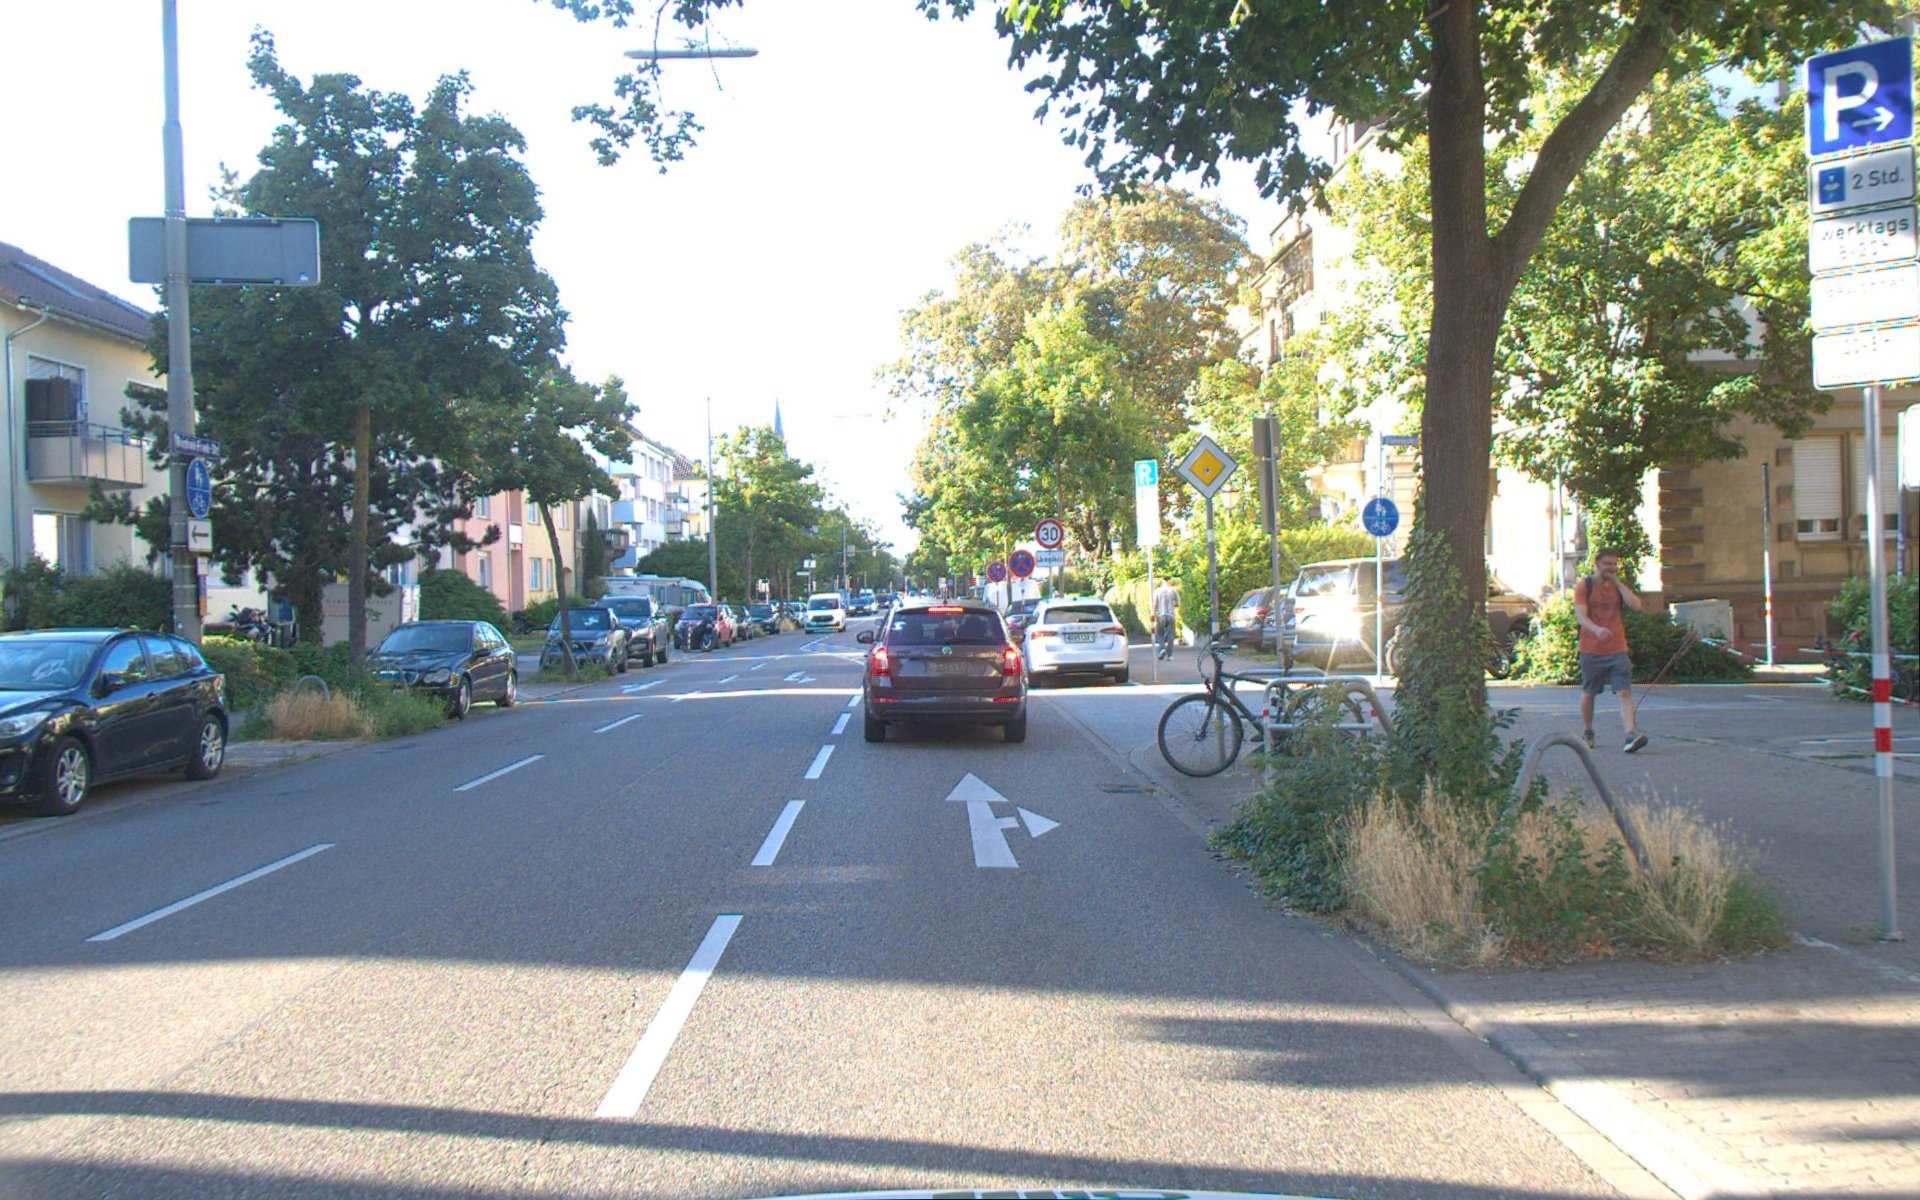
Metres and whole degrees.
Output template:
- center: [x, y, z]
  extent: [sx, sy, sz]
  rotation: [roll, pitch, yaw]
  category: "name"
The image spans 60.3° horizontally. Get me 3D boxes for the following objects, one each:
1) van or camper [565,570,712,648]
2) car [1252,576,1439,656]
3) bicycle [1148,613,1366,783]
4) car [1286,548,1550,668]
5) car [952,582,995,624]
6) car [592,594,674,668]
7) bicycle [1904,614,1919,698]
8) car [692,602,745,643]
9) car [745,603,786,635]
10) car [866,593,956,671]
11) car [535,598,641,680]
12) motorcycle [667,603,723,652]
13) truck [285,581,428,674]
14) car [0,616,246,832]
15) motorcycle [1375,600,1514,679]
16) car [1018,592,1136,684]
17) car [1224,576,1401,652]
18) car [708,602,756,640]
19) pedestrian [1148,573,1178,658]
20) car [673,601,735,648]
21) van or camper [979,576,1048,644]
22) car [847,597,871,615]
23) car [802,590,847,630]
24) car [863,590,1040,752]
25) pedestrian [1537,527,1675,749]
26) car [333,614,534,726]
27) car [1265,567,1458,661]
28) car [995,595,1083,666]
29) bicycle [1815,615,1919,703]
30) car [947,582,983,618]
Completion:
- center: [-17.376, 0.462, 89.738]
  extent: [7.489, 3.942, 1.999]
  rotation: [-2, 0, -4]
  category: "van or camper"
- center: [8.252, 0.317, 35.370]
  extent: [3.750, 1.552, 1.501]
  rotation: [-2, 0, -24]
  category: "car"
- center: [2.415, 0.794, 13.476]
  extent: [1.635, 1.247, 0.636]
  rotation: [-4, 0, 11]
  category: "bicycle"
- center: [8.147, 0.111, 29.368]
  extent: [4.484, 1.926, 1.896]
  rotation: [-2, 0, -30]
  category: "car"
- center: [0.610, 0.096, 76.386]
  extent: [1.695, 1.846, 3.948]
  rotation: [-2, 1, -3]
  category: "car"
- center: [-8.540, 0.772, 43.481]
  extent: [1.476, 1.788, 3.692]
  rotation: [-2, 1, -2]
  category: "car"
- center: [11.328, 0.644, 18.573]
  extent: [0.335, 0.967, 1.579]
  rotation: [-4, 0, -7]
  category: "bicycle"
- center: [-9.396, 0.864, 64.444]
  extent: [1.631, 1.457, 3.274]
  rotation: [-2, 1, -2]
  category: "car"
- center: [-9.410, 0.916, 80.140]
  extent: [1.631, 1.457, 3.274]
  rotation: [-2, 1, -2]
  category: "car"
- center: [-1.119, 0.646, 35.917]
  extent: [1.696, 1.520, 3.946]
  rotation: [-2, 1, -5]
  category: "car"
- center: [-8.681, 0.870, 38.810]
  extent: [1.715, 1.771, 3.590]
  rotation: [-2, 1, -2]
  category: "car"
- center: [-8.638, 0.883, 53.830]
  extent: [0.761, 1.538, 1.997]
  rotation: [-2, 1, -44]
  category: "motorcycle"
- center: [-14.581, 0.636, 40.070]
  extent: [2.855, 2.130, 1.545]
  rotation: [-2, 0, -2]
  category: "truck"
- center: [-7.984, 0.973, 14.476]
  extent: [1.682, 1.523, 4.246]
  rotation: [-2, 1, -1]
  category: "car"
- center: [7.546, 0.603, 25.766]
  extent: [2.012, 1.144, 0.525]
  rotation: [-2, 0, -7]
  category: "motorcycle"
- center: [1.990, 0.616, 29.223]
  extent: [1.784, 1.438, 4.111]
  rotation: [-2, 1, 0]
  category: "car"
- center: [7.993, 0.300, 37.485]
  extent: [3.750, 1.552, 1.501]
  rotation: [-2, 0, -24]
  category: "car"
- center: [-9.491, 0.870, 68.987]
  extent: [1.631, 1.457, 3.274]
  rotation: [-2, 1, -2]
  category: "car"
- center: [4.399, 0.330, 35.877]
  extent: [0.524, 1.825, 0.687]
  rotation: [-1, 0, 0]
  category: "pedestrian"
- center: [-9.039, 0.838, 58.765]
  extent: [1.631, 1.538, 4.177]
  rotation: [-2, 1, -2]
  category: "car"
- center: [1.679, 0.278, 53.118]
  extent: [1.953, 2.049, 3.999]
  rotation: [-2, 1, -2]
  category: "van or camper"
- center: [-9.006, 0.513, 148.223]
  extent: [1.953, 1.534, 3.999]
  rotation: [-2, 0, -2]
  category: "car"
- center: [-6.428, 0.449, 78.733]
  extent: [1.839, 1.788, 4.177]
  rotation: [-2, 1, -2]
  category: "car"
- center: [-0.108, 0.679, 18.173]
  extent: [1.694, 1.520, 3.950]
  rotation: [-2, 1, -1]
  category: "car"
- center: [5.546, 0.313, 14.245]
  extent: [0.741, 1.827, 0.905]
  rotation: [-2, 0, -7]
  category: "pedestrian"
- center: [-8.031, 1.009, 25.643]
  extent: [1.718, 1.445, 4.425]
  rotation: [-2, 1, -1]
  category: "car"
- center: [7.975, 0.251, 32.746]
  extent: [3.762, 1.708, 1.496]
  rotation: [-2, 1, -32]
  category: "car"
- center: [1.746, 0.652, 37.703]
  extent: [1.784, 1.438, 4.111]
  rotation: [-2, 1, 0]
  category: "car"
- center: [10.554, 0.662, 19.135]
  extent: [0.335, 0.967, 1.579]
  rotation: [1, 0, -7]
  category: "bicycle"
- center: [0.230, -0.035, 88.869]
  extent: [1.695, 1.846, 3.948]
  rotation: [-2, 1, -3]
  category: "car"
